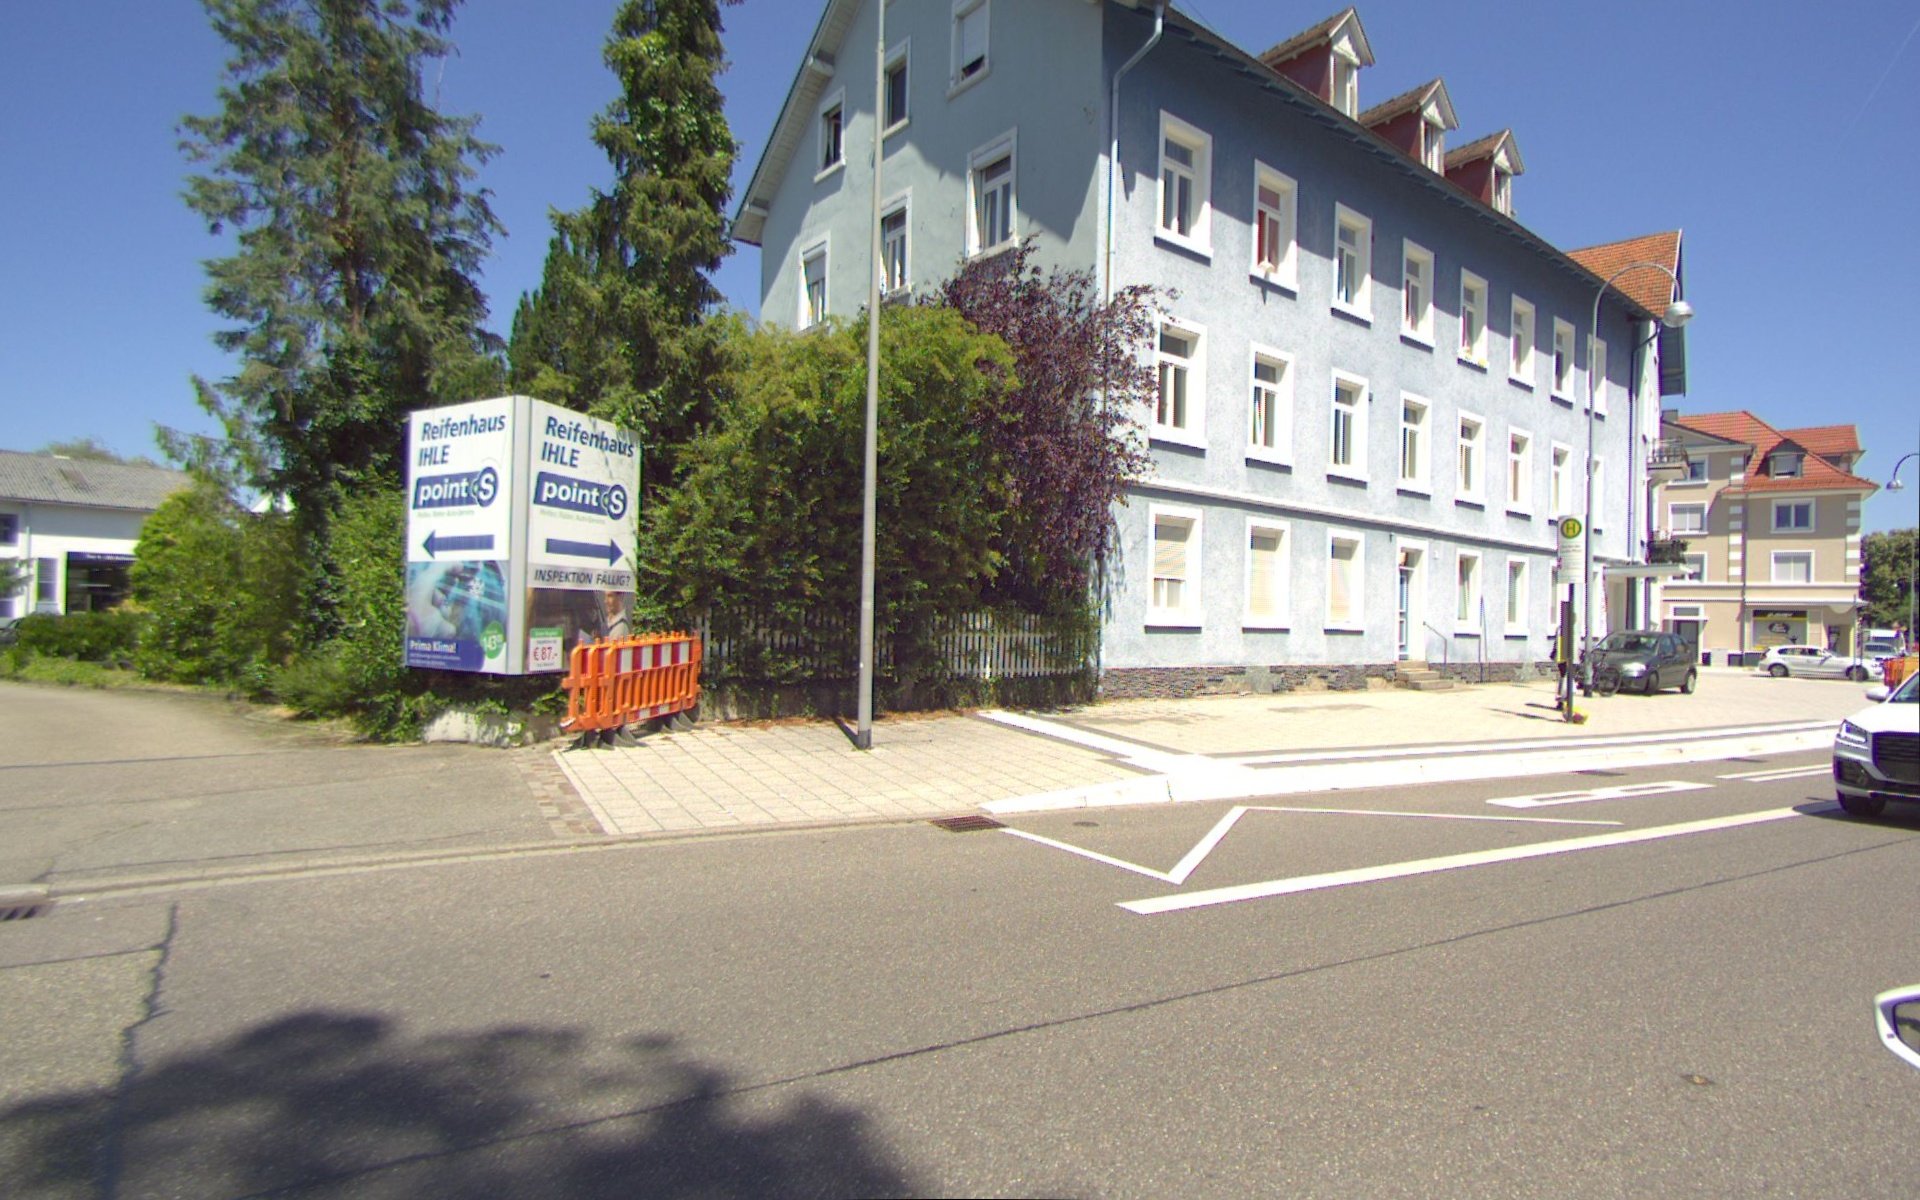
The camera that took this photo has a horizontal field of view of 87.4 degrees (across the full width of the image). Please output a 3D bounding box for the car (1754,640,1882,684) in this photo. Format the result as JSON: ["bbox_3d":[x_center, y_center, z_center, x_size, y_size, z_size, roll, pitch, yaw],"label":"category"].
[{"bbox_3d":[37.744,2.702,44.264,1.774,1.571,4.077,3,0,-42],"label":"car"}]

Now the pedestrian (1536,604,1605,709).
[{"bbox_3d":[11.427,1.050,18.802,0.765,1.873,0.750,3,2,-38],"label":"pedestrian"}]

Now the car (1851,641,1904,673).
[{"bbox_3d":[53.382,3.268,58.521,1.752,1.708,4.678,1,-1,36],"label":"car"}]

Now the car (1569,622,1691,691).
[{"bbox_3d":[16.860,1.433,25.204,3.746,1.554,1.564,5,-2,-40],"label":"car"}]

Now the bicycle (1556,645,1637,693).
[{"bbox_3d":[14.033,1.527,22.136,1.947,0.990,0.494,3,3,-26],"label":"bicycle"}]

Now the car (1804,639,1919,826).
[{"bbox_3d":[9.827,1.251,9.376,3.906,1.550,1.811,4,-2,-31],"label":"car"}]

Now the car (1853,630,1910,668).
[{"bbox_3d":[68.586,3.620,74.888,2.115,2.566,6.220,3,0,34],"label":"car"}]
